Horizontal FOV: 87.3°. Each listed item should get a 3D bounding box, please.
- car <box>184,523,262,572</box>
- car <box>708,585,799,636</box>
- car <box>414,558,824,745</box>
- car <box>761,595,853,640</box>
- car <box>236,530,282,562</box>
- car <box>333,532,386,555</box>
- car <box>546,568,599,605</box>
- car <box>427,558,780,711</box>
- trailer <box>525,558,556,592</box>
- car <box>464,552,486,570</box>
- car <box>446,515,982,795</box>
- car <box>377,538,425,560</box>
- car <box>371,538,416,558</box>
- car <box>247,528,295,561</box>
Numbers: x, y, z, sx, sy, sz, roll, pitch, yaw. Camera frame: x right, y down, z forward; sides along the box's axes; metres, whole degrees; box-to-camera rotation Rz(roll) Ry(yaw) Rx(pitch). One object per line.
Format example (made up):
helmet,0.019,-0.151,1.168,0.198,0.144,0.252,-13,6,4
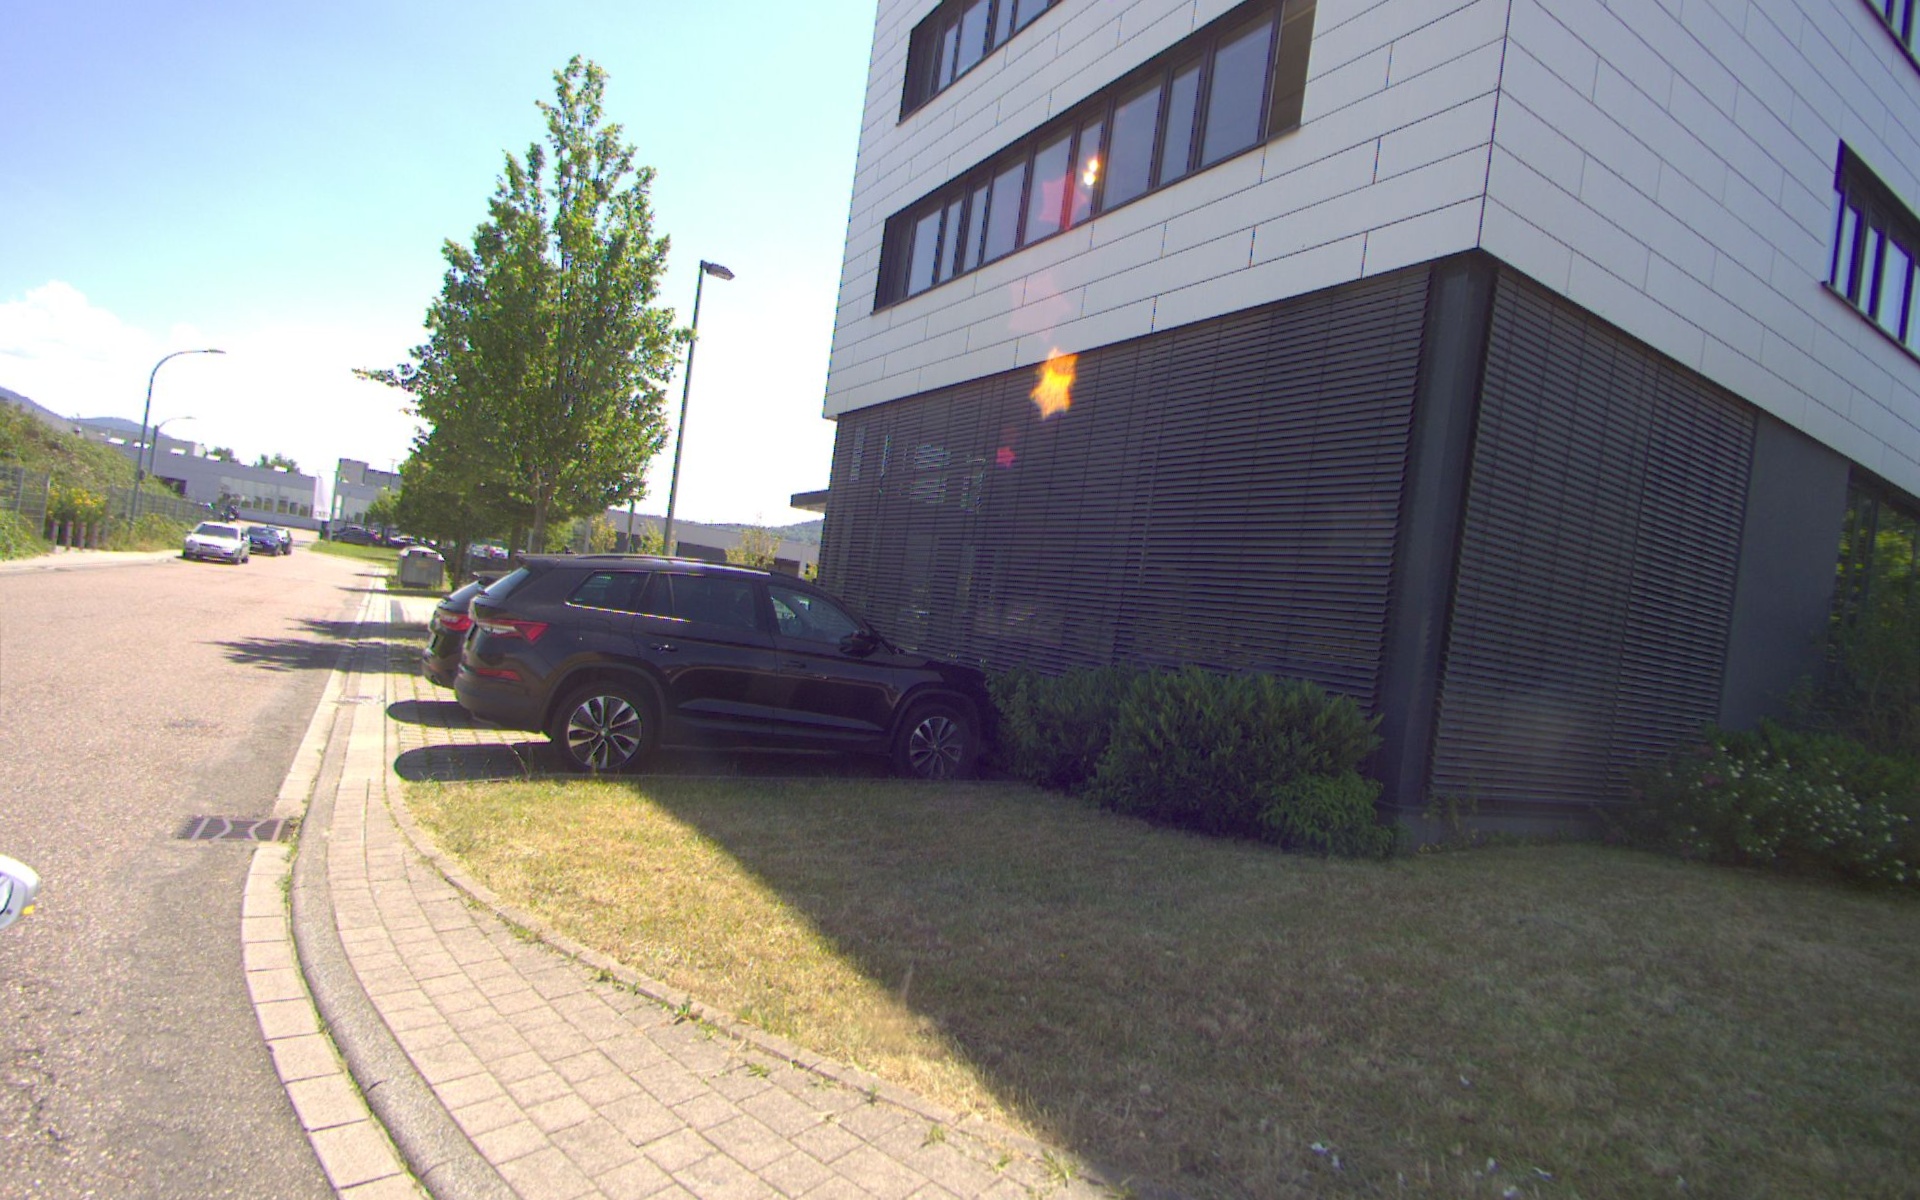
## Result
car,-29.042,-2.057,39.755,1.820,1.564,4.334,8,-1,-30
car,-8.156,0.376,39.456,1.828,1.672,4.614,8,-3,-32
car,-3.552,0.569,10.635,3.687,1.513,1.767,8,-1,-33
car,-6.254,0.677,40.627,1.828,1.449,4.614,9,-3,-32
car,-37.700,-2.899,54.142,1.645,1.434,4.111,8,-1,-32
car,-55.240,-5.141,92.580,3.961,1.413,1.984,9,-3,-32
car,-21.681,-0.791,56.186,1.778,1.549,4.383,8,0,-32
car,-4.587,0.476,13.131,3.960,1.512,1.710,8,-1,-33
trailer,-29.328,-1.760,70.315,1.481,2.032,3.238,7,2,-28
car,-60.925,-4.861,126.280,1.979,1.847,3.971,8,-3,-30
car,-2.022,0.525,8.470,3.954,1.786,1.713,7,-1,-28
car,-54.769,-4.992,98.534,3.961,1.413,1.984,9,-3,-32
car,-59.473,-5.402,105.578,3.961,1.413,1.984,9,-3,-32
car,-40.222,-3.216,58.818,1.820,1.564,4.232,8,-1,-30
